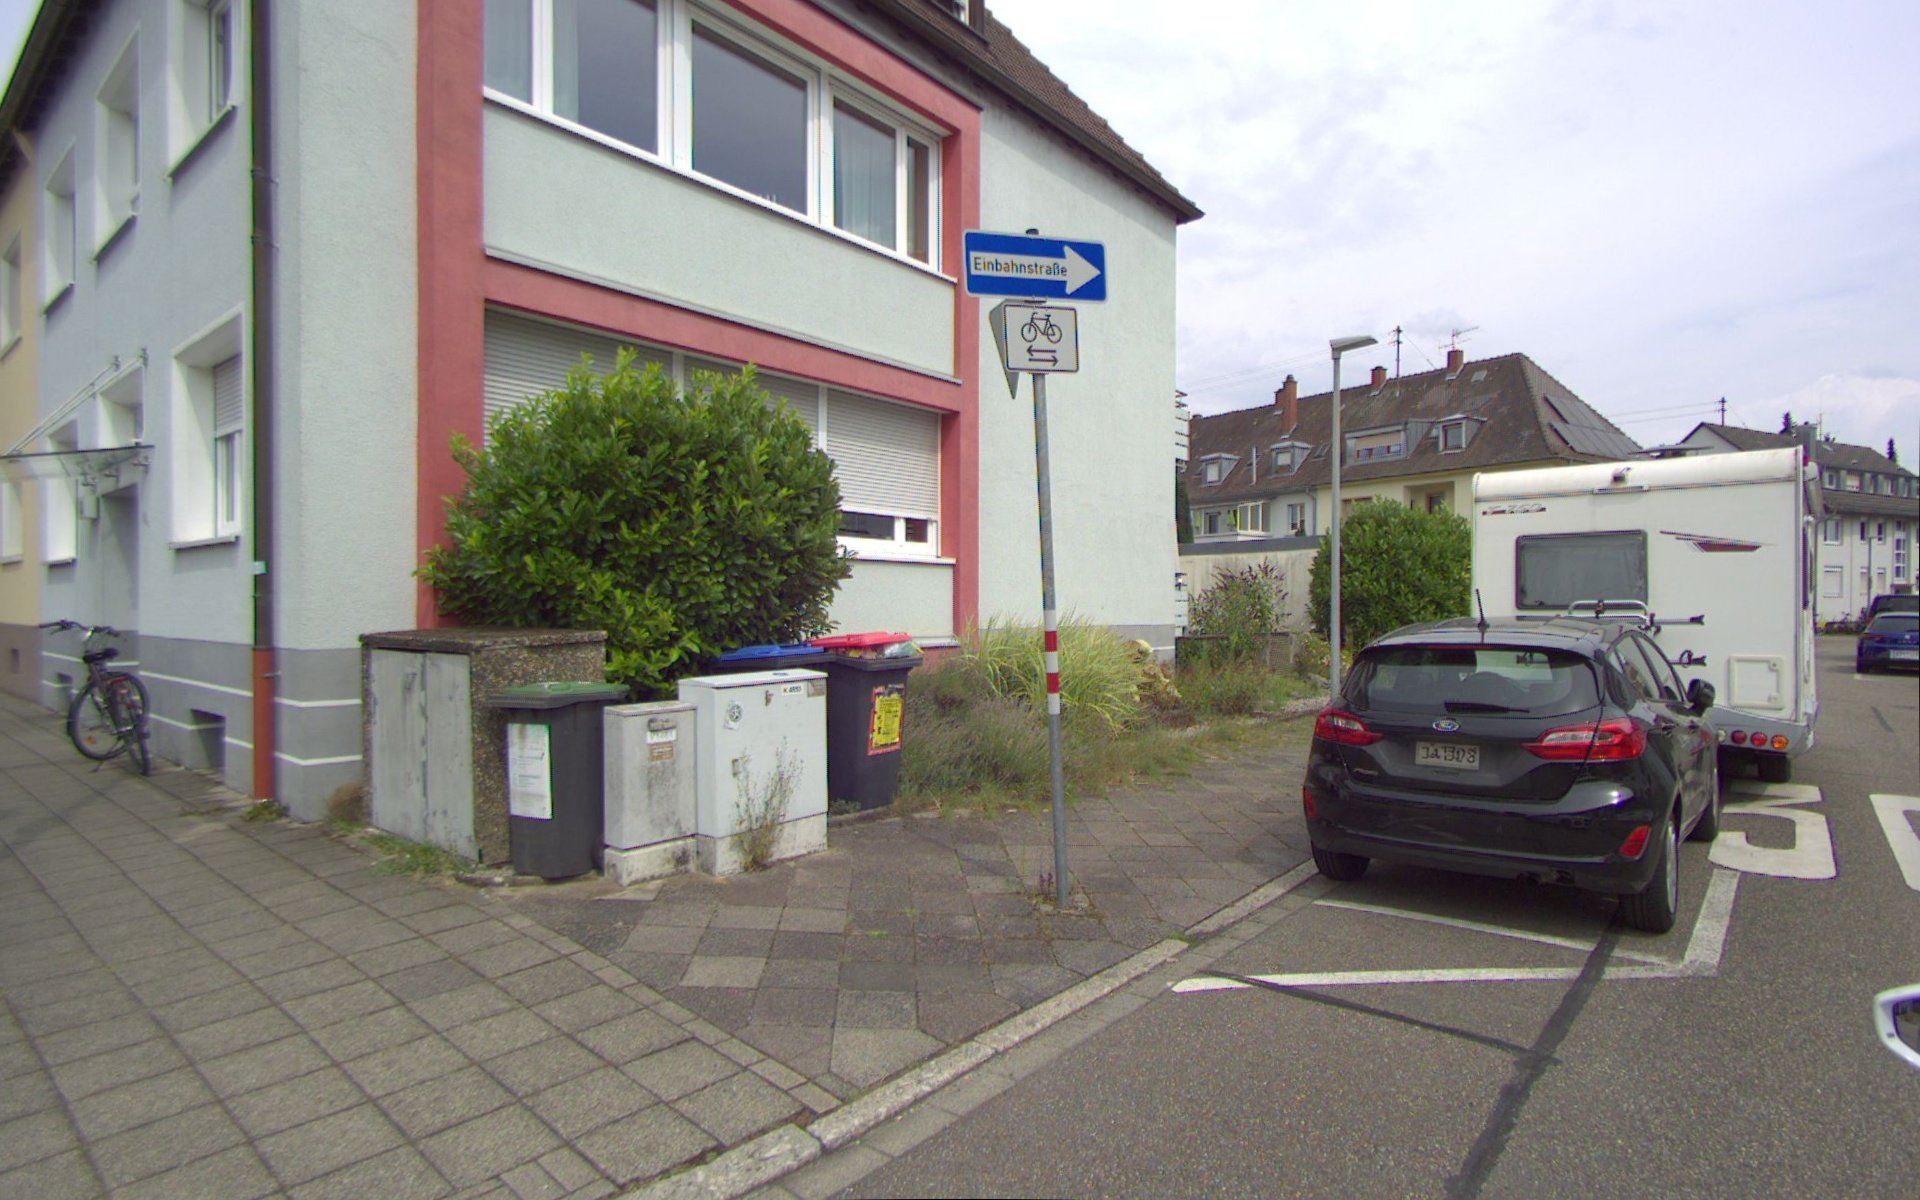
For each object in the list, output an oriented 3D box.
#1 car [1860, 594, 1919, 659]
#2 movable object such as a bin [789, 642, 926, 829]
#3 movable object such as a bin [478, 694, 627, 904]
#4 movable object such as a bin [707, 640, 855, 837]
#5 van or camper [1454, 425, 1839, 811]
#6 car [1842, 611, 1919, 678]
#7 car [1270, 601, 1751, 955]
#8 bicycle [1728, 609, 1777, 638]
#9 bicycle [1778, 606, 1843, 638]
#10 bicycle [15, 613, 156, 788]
[{"bbox_3d":[27.470,0.791,28.757,4.308,1.765,1.839,3,-2,-38],"label":"car"},{"bbox_3d":[-0.683,0.868,6.729,0.667,1.147,0.592,1,-1,34],"label":"movable object such as a bin"},{"bbox_3d":[-2.016,0.953,4.986,0.468,0.919,0.486,1,-1,34],"label":"movable object such as a bin"},{"bbox_3d":[-1.116,0.828,6.299,0.667,1.128,0.592,1,-1,34],"label":"movable object such as a bin"},{"bbox_3d":[7.292,0.241,10.259,2.378,2.761,6.128,0,-2,43],"label":"van or camper"},{"bbox_3d":[22.414,1.065,23.701,3.965,1.471,1.709,3,-2,-38],"label":"car"},{"bbox_3d":[3.506,0.796,6.047,1.641,1.441,3.746,0,-2,43],"label":"car"},{"bbox_3d":[39.572,1.152,50.189,1.806,1.391,0.670,1,-1,29],"label":"bicycle"},{"bbox_3d":[41.699,1.079,49.269,2.306,1.480,0.719,1,-1,19],"label":"bicycle"},{"bbox_3d":[-6.706,0.707,7.669,1.845,1.168,0.490,0,-2,40],"label":"bicycle"}]
